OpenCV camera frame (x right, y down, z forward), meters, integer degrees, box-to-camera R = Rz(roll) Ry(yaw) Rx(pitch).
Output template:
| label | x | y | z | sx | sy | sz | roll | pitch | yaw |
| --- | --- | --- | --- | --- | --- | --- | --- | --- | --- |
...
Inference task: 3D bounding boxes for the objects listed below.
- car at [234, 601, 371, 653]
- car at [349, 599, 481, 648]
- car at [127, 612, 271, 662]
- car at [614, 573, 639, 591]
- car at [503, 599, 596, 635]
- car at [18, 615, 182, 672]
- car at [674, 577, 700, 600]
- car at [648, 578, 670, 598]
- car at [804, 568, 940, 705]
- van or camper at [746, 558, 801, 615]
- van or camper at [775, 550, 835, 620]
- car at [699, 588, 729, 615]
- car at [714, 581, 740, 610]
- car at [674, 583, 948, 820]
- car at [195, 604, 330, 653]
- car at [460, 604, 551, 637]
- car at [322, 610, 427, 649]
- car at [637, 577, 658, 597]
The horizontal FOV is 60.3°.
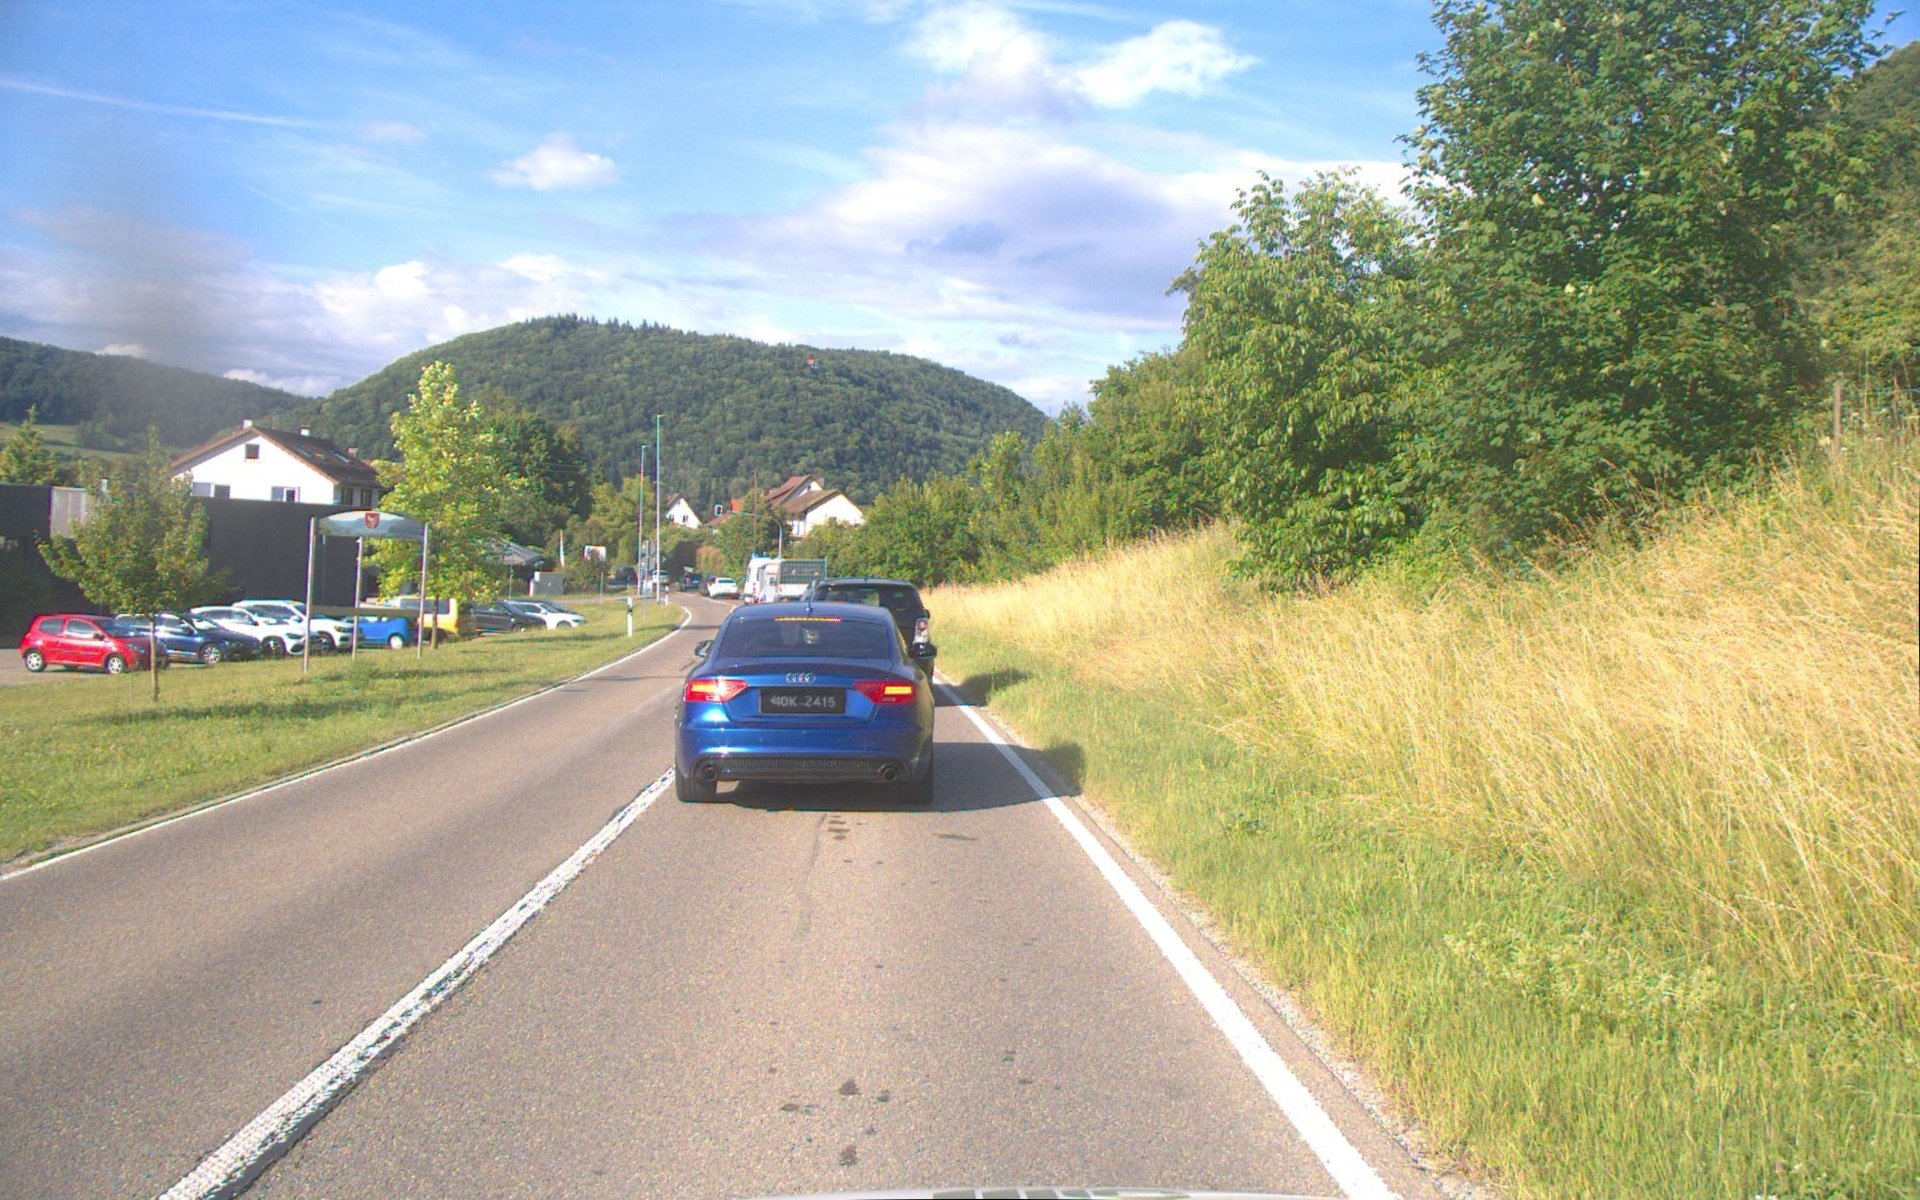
| label | x | y | z | sx | sy | sz | roll | pitch | yaw |
| --- | --- | --- | --- | --- | --- | --- | --- | --- | --- |
| car | -22.039 | 0.883 | 55.510 | 3.990 | 1.702 | 1.598 | 0 | 0 | 6 |
| car | -21.028 | 0.888 | 63.895 | 4.456 | 1.846 | 1.842 | 0 | 0 | 6 |
| car | -22.551 | 1.091 | 49.070 | 3.547 | 1.429 | 1.598 | 0 | 0 | 6 |
| car | -36.020 | -1.918 | 178.497 | 1.928 | 1.958 | 3.972 | 0 | 0 | -23 |
| car | -19.461 | 0.804 | 78.515 | 3.950 | 1.689 | 1.657 | 0 | 0 | 6 |
| car | -22.825 | 1.144 | 43.951 | 3.547 | 1.469 | 1.649 | 0 | 0 | 6 |
| car | -23.313 | -0.977 | 141.282 | 1.650 | 1.958 | 3.981 | 0 | 0 | -17 |
| car | -28.893 | -1.138 | 158.669 | 1.650 | 1.958 | 3.981 | 0 | 0 | -17 |
| car | -1.246 | 0.446 | 22.221 | 1.614 | 1.653 | 3.512 | 2 | 0 | -6 |
| van or camper | -9.437 | -0.675 | 83.341 | 2.241 | 2.761 | 5.750 | 0 | 0 | -12 |
| van or camper | -6.014 | -0.550 | 63.767 | 2.014 | 2.549 | 5.800 | 0 | 0 | -8 |
| car | -18.091 | 0.108 | 121.612 | 1.633 | 1.958 | 3.982 | 0 | 0 | -16 |
| car | -16.103 | -0.303 | 114.183 | 1.630 | 1.958 | 3.989 | 0 | 0 | -11 |
| car | -1.038 | 0.642 | 12.253 | 1.708 | 1.476 | 3.514 | 1 | 0 | -3 |
| car | -21.996 | 0.889 | 52.240 | 3.588 | 1.520 | 1.598 | 0 | 0 | 6 |
| car | -20.358 | 0.924 | 74.188 | 3.633 | 1.465 | 1.510 | 0 | 0 | 6 |
| car | -21.750 | 1.099 | 61.534 | 3.301 | 1.397 | 1.660 | 0 | 0 | -1 |
| car | -31.515 | -1.267 | 166.679 | 1.651 | 1.958 | 3.979 | 0 | 0 | -18 |
